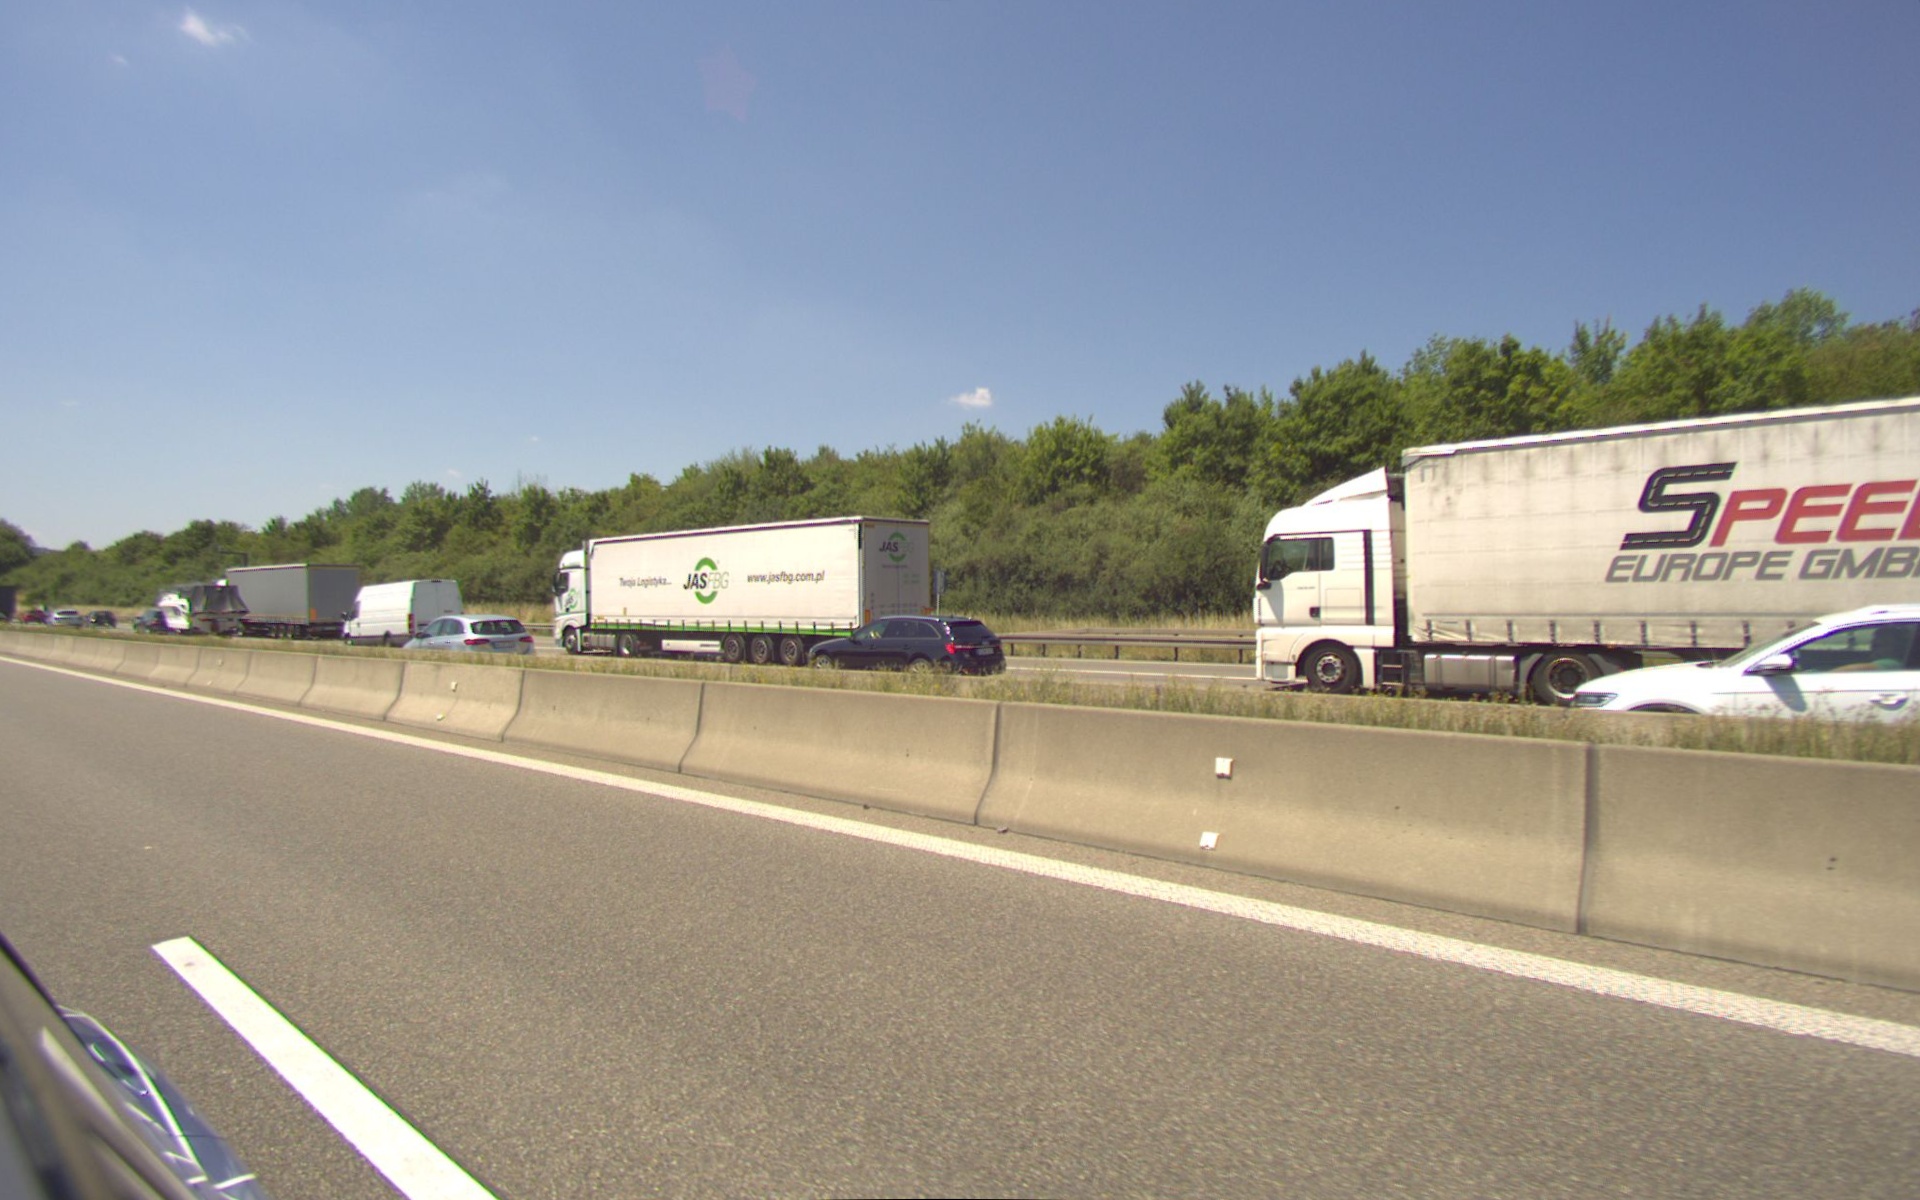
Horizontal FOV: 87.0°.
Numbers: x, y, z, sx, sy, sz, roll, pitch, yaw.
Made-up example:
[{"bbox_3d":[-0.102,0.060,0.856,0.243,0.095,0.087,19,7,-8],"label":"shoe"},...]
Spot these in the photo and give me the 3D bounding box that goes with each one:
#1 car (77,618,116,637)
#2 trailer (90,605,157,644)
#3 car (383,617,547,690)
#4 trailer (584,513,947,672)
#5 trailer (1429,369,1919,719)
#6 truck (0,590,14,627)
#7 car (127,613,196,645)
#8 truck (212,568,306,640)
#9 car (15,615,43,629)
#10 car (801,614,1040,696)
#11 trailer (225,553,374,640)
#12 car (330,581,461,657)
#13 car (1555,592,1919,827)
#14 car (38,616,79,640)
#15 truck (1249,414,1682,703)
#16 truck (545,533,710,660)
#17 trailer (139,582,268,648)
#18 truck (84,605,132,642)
[{"bbox_3d":[-71.824,2.252,84.124,4.307,1.532,1.972,0,-1,43],"label":"car"},{"bbox_3d":[-91.730,2.635,110.809,14.480,4.001,3.050,-1,0,40],"label":"trailer"},{"bbox_3d":[-12.245,1.238,24.899,4.592,1.590,1.973,-1,-1,41],"label":"car"},{"bbox_3d":[-6.507,-0.106,30.562,13.870,3.902,2.873,-1,-1,41],"label":"trailer"},{"bbox_3d":[13.673,-0.721,12.712,13.862,4.310,2.781,-1,-1,42],"label":"trailer"},{"bbox_3d":[-108.375,0.960,112.685,10.343,3.946,2.980,-1,-1,39],"label":"truck"},{"bbox_3d":[-46.678,1.654,59.135,4.924,1.736,2.087,0,-1,38],"label":"car"},{"bbox_3d":[-42.642,0.289,61.524,6.178,4.164,3.167,-1,-1,40],"label":"truck"},{"bbox_3d":[-93.922,2.221,102.106,4.211,1.415,1.728,0,-1,43],"label":"car"},{"bbox_3d":[-0.915,1.044,20.640,4.921,1.445,1.857,-1,0,41],"label":"car"},{"bbox_3d":[-37.797,-0.091,57.526,13.767,4.455,3.189,-1,-1,40],"label":"trailer"},{"bbox_3d":[-21.344,0.693,38.043,7.568,2.593,1.878,-1,-1,41],"label":"car"},{"bbox_3d":[7.363,0.774,7.924,4.404,1.656,1.973,0,0,41],"label":"car"},{"bbox_3d":[-64.603,1.982,72.498,4.442,1.690,1.821,0,-1,44],"label":"car"},{"bbox_3d":[8.444,-0.545,17.314,6.095,4.073,2.727,-1,-1,41],"label":"truck"},{"bbox_3d":[-11.629,-0.082,35.161,5.971,4.037,2.819,-1,-1,41],"label":"truck"},{"bbox_3d":[-40.719,0.720,54.268,10.715,3.207,2.842,0,0,38],"label":"trailer"},{"bbox_3d":[-97.193,2.657,115.376,6.087,4.059,3.058,-1,0,39],"label":"truck"}]
